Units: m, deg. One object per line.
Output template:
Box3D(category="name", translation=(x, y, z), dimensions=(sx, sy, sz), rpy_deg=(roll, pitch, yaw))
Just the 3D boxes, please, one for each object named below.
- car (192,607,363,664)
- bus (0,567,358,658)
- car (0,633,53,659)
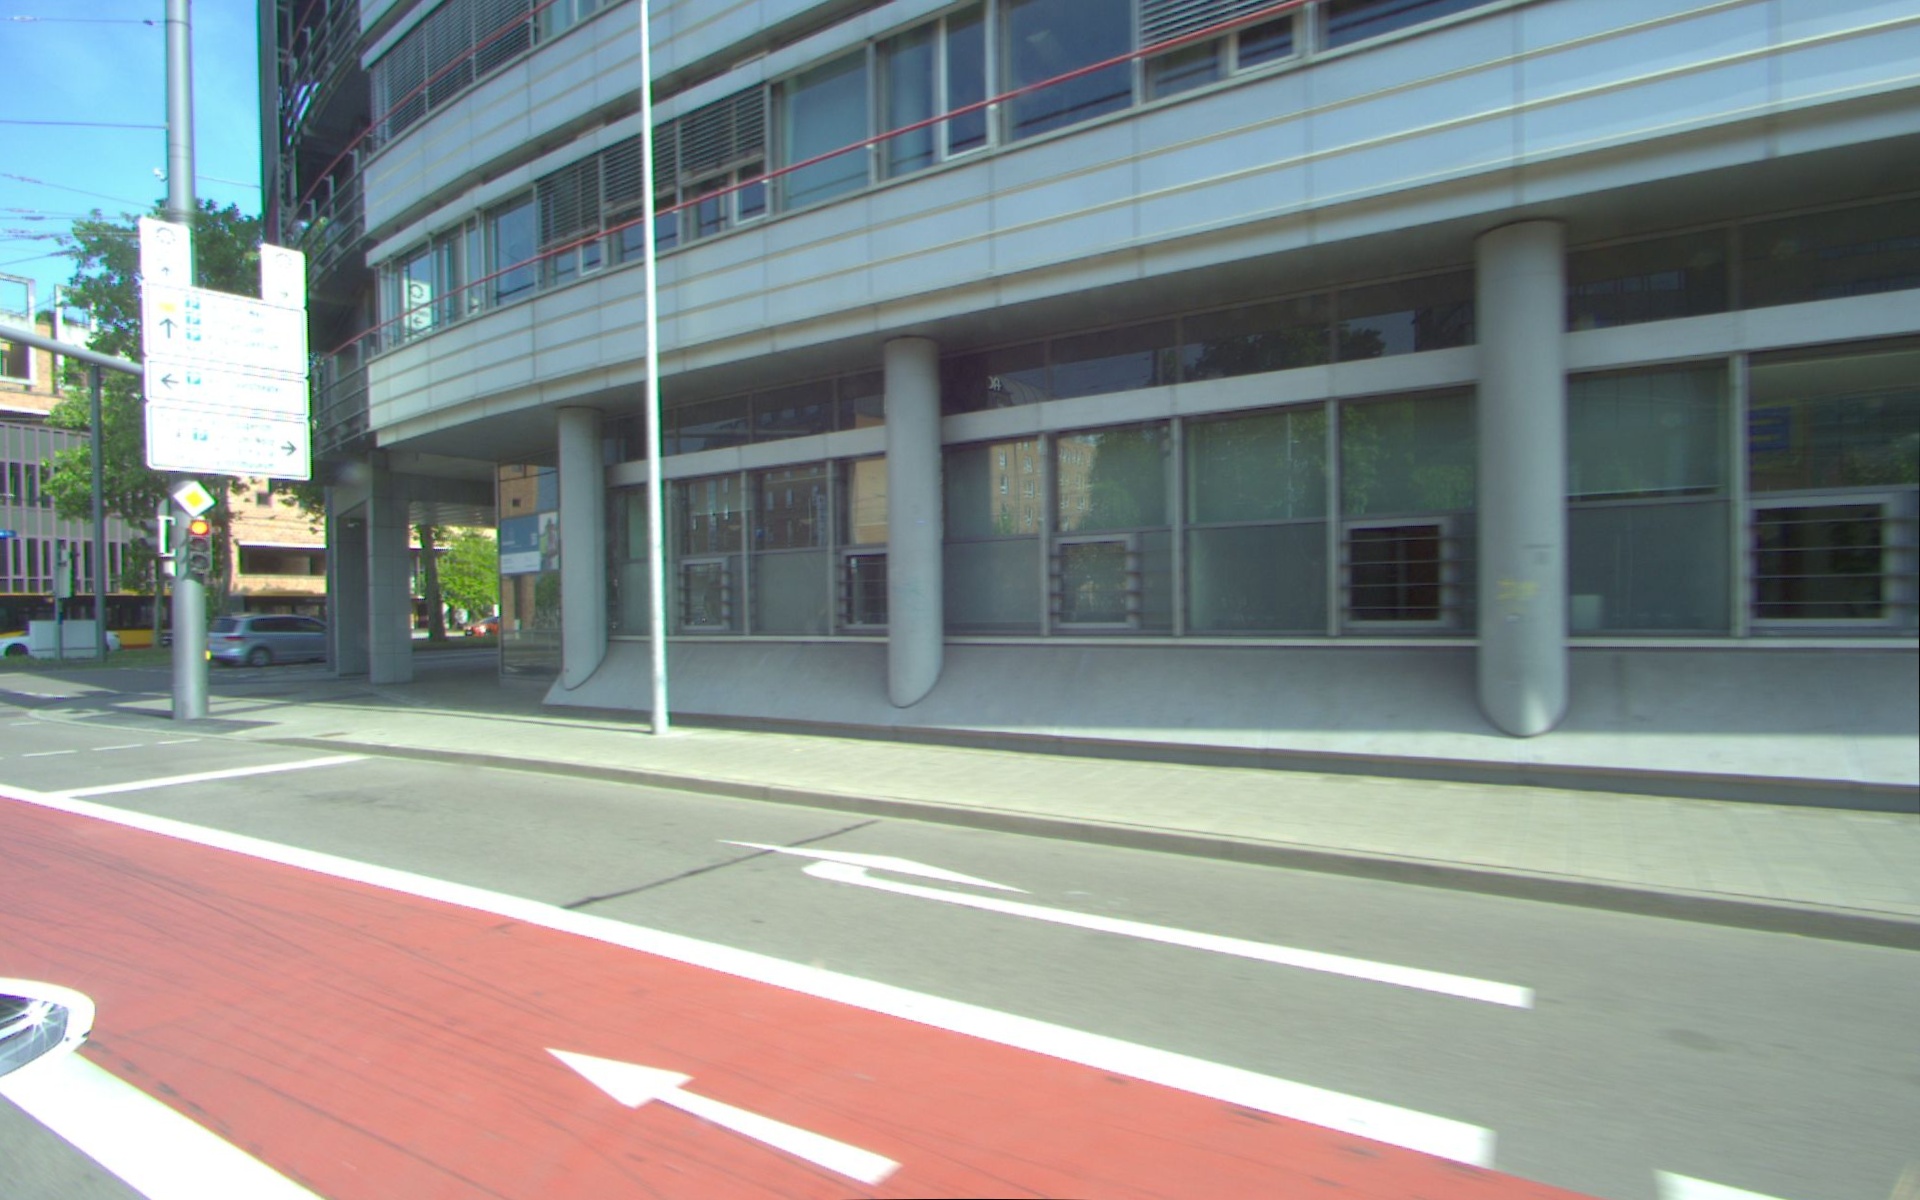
Box3D(category="car", translation=(-21.914, 1.092, 32.364), dimensions=(1.662, 1.656, 4.379), rpy_deg=(1, 1, 24))
Box3D(category="bus", translation=(-39.072, 0.660, 49.531), dimensions=(2.817, 3.859, 17.622), rpy_deg=(-2, -1, 22))
Box3D(category="car", translation=(-38.478, 1.866, 40.853), dimensions=(1.078, 0.970, 1.948), rpy_deg=(-1, 0, 30))
